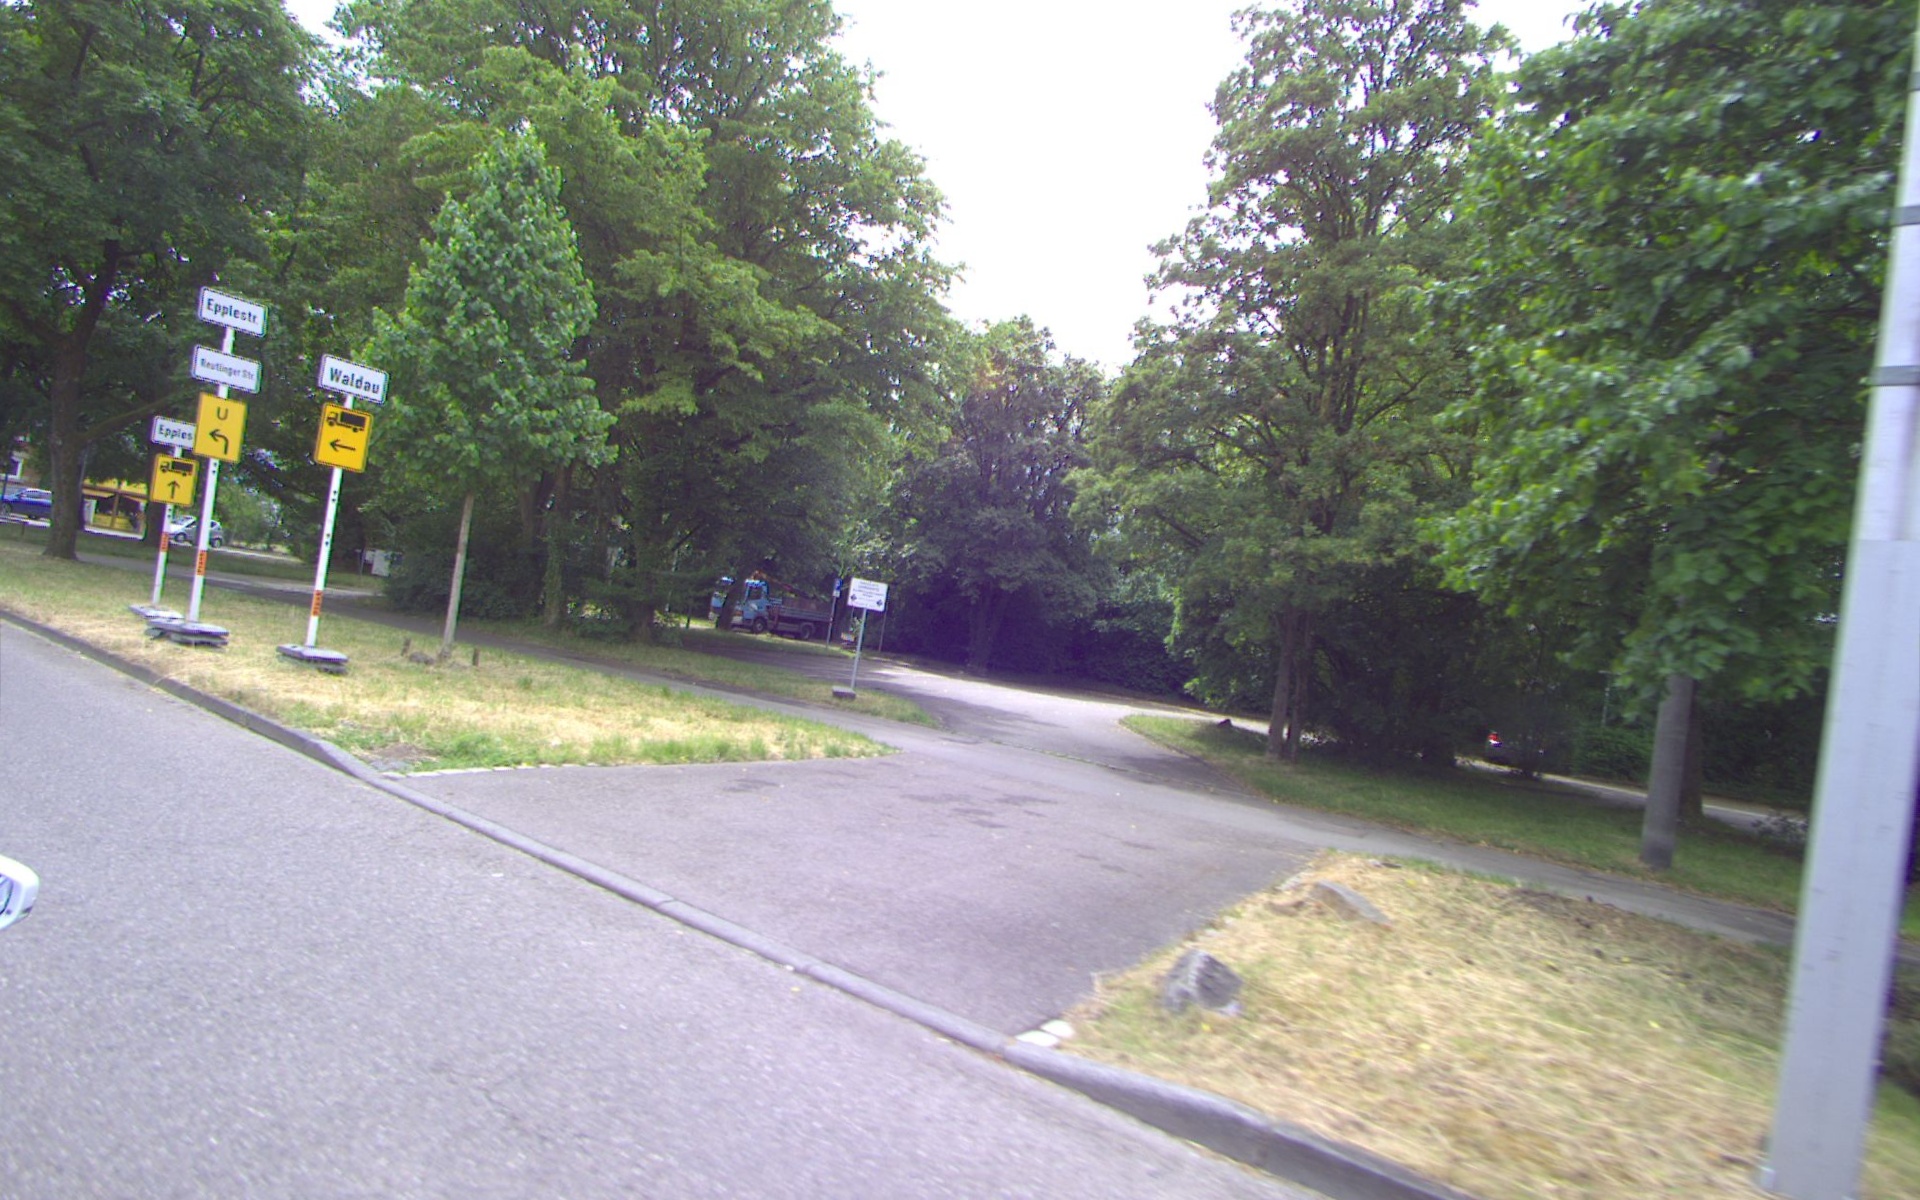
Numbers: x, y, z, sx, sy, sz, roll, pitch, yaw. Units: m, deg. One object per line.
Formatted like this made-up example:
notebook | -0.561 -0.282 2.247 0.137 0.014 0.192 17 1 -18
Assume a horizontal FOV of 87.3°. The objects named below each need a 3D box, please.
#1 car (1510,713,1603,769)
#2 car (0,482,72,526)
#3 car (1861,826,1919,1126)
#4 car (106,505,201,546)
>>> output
car | 19.194 4.538 32.288 1.775 1.425 3.985 6 -3 41
car | -47.677 -4.965 50.624 1.962 1.665 3.863 8 -2 15
car | 5.343 1.811 3.405 1.713 1.439 3.843 7 -5 14
car | -44.127 -4.059 55.143 1.962 1.548 3.478 8 -2 9
